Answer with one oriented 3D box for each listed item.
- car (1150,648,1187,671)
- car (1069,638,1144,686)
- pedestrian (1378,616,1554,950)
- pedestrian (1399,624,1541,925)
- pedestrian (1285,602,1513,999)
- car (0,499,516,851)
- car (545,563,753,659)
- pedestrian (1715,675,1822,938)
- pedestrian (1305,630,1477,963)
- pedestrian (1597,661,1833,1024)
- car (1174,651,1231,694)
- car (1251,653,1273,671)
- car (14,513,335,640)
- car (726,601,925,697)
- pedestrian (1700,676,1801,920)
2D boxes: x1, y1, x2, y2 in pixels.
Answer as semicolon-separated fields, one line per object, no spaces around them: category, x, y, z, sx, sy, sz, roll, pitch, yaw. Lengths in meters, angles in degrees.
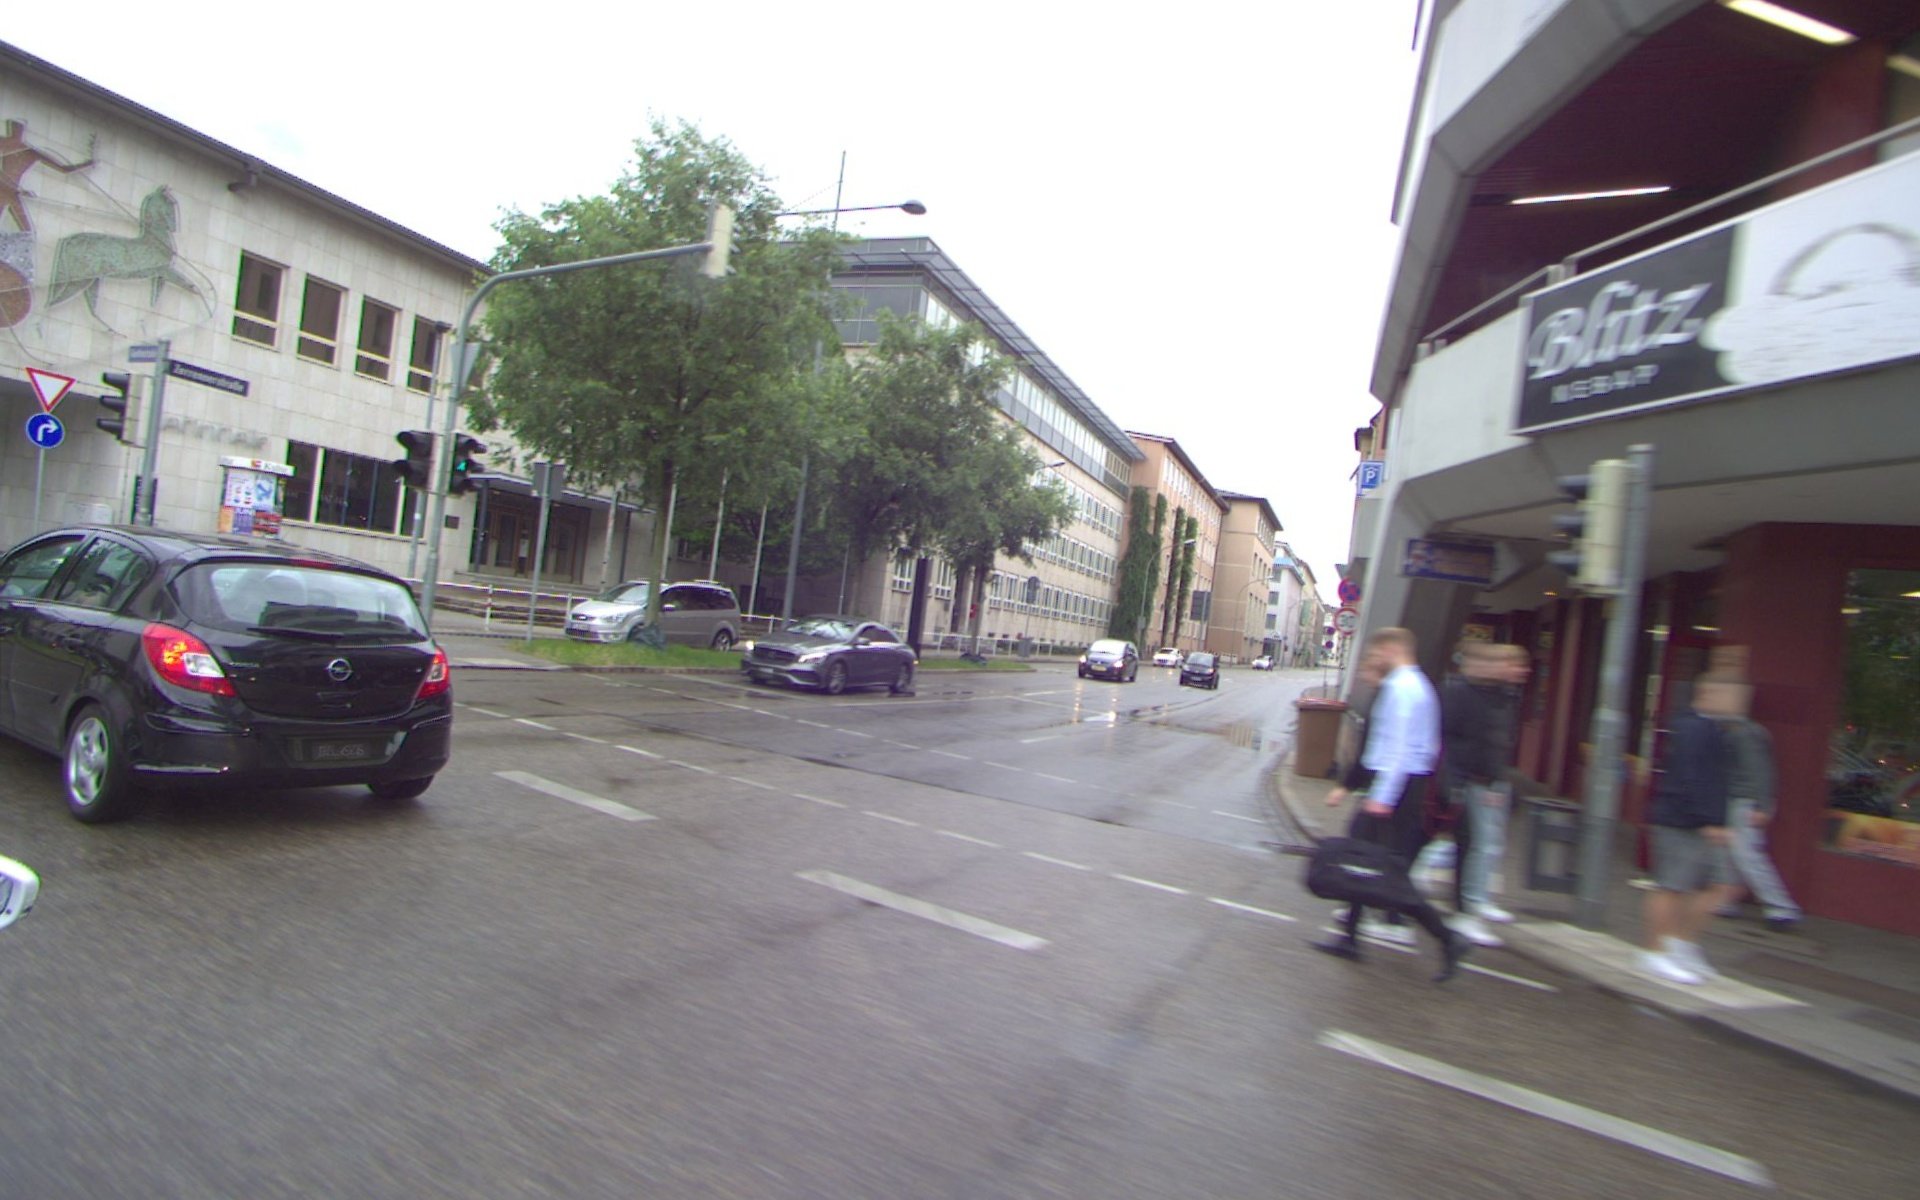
car;15.576;4.454;74.952;1.770;1.487;3.999;6;-1;23
car;5.911;2.501;40.299;1.852;1.615;3.999;7;-1;23
pedestrian;3.265;1.118;6.476;0.777;1.924;0.759;5;-1;35
pedestrian;3.582;1.170;7.046;0.666;1.918;0.733;5;-1;34
pedestrian;2.326;0.989;5.331;0.836;1.868;0.621;3;-3;42
car;-4.735;0.300;6.128;3.678;1.473;1.713;6;-3;29
car;-7.033;0.328;23.305;1.823;1.780;4.606;5;-2;26
pedestrian;5.915;1.474;7.385;0.485;1.783;0.595;4;-2;36
pedestrian;2.572;1.120;5.995;0.668;1.794;0.621;4;-3;42
pedestrian;4.296;1.320;5.810;0.873;1.800;0.750;6;-2;32
car;11.156;3.362;46.098;1.775;1.568;4.005;4;-5;23
car;32.115;6.619;106.970;1.770;1.485;4.004;6;-3;22
car;-13.078;-0.334;17.073;3.967;1.493;1.981;9;-3;-36
car;-2.414;0.979;19.268;1.755;1.436;4.274;7;-2;22
pedestrian;6.194;1.520;7.903;0.504;1.783;0.526;4;-2;36
